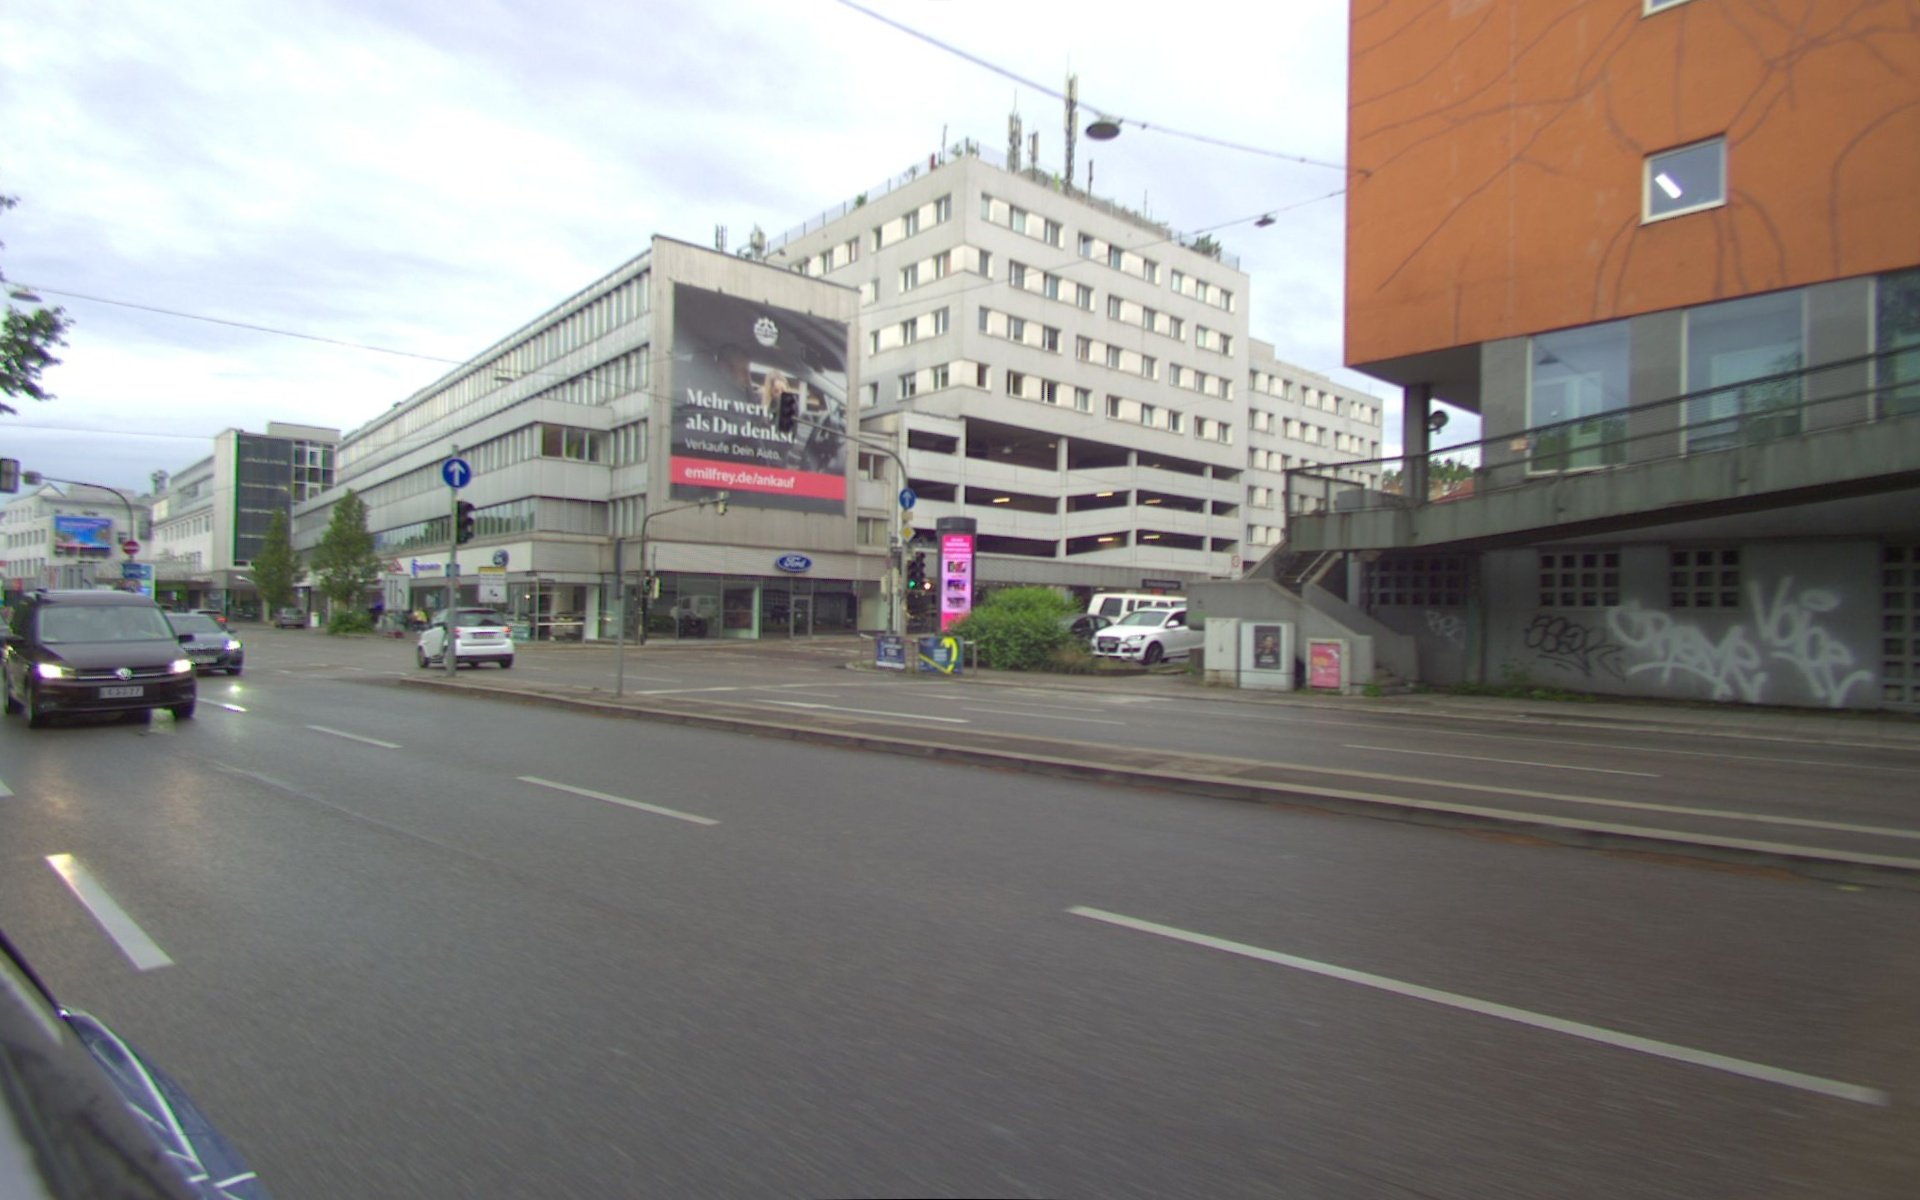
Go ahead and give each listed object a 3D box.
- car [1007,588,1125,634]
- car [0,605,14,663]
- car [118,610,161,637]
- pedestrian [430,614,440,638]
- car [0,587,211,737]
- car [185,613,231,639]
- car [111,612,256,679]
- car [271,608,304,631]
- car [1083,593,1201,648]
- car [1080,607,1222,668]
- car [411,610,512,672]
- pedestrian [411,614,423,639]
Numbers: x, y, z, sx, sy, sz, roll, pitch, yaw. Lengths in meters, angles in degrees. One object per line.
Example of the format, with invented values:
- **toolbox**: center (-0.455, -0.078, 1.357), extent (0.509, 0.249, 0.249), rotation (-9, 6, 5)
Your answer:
- **car**: center (3.579, 0.361, 33.801), extent (3.836, 1.451, 1.917), rotation (0, -1, -44)
- **car**: center (-28.985, 0.976, 29.481), extent (3.998, 1.625, 1.709), rotation (-1, -1, 41)
- **car**: center (-45.420, 1.269, 55.999), extent (1.660, 1.450, 4.005), rotation (1, -1, -42)
- **pedestrian**: center (-32.931, 1.625, 63.487), extent (0.431, 1.542, 0.514), rotation (1, -1, -43)
- **car**: center (-12.117, 0.785, 14.176), extent (3.998, 1.804, 1.818), rotation (-2, -1, 41)
- **car**: center (-44.522, 1.518, 59.899), extent (1.661, 1.450, 4.003), rotation (1, -1, -44)
- **car**: center (-18.135, 1.063, 23.572), extent (4.533, 1.426, 1.649), rotation (-3, -2, 38)
- **car**: center (-56.953, 1.651, 85.685), extent (1.856, 1.881, 4.007), rotation (0, -1, -40)
- **car**: center (7.053, 0.796, 39.515), extent (4.137, 2.029, 1.971), rotation (-1, -1, 44)
- **car**: center (5.573, 1.032, 29.231), extent (4.241, 1.637, 1.937), rotation (0, -1, -44)
- **car**: center (-12.737, 1.013, 25.795), extent (2.772, 1.489, 1.504), rotation (-1, -1, 45)
- **pedestrian**: center (-33.706, 1.630, 62.790), extent (0.567, 1.542, 0.454), rotation (1, -1, -43)
